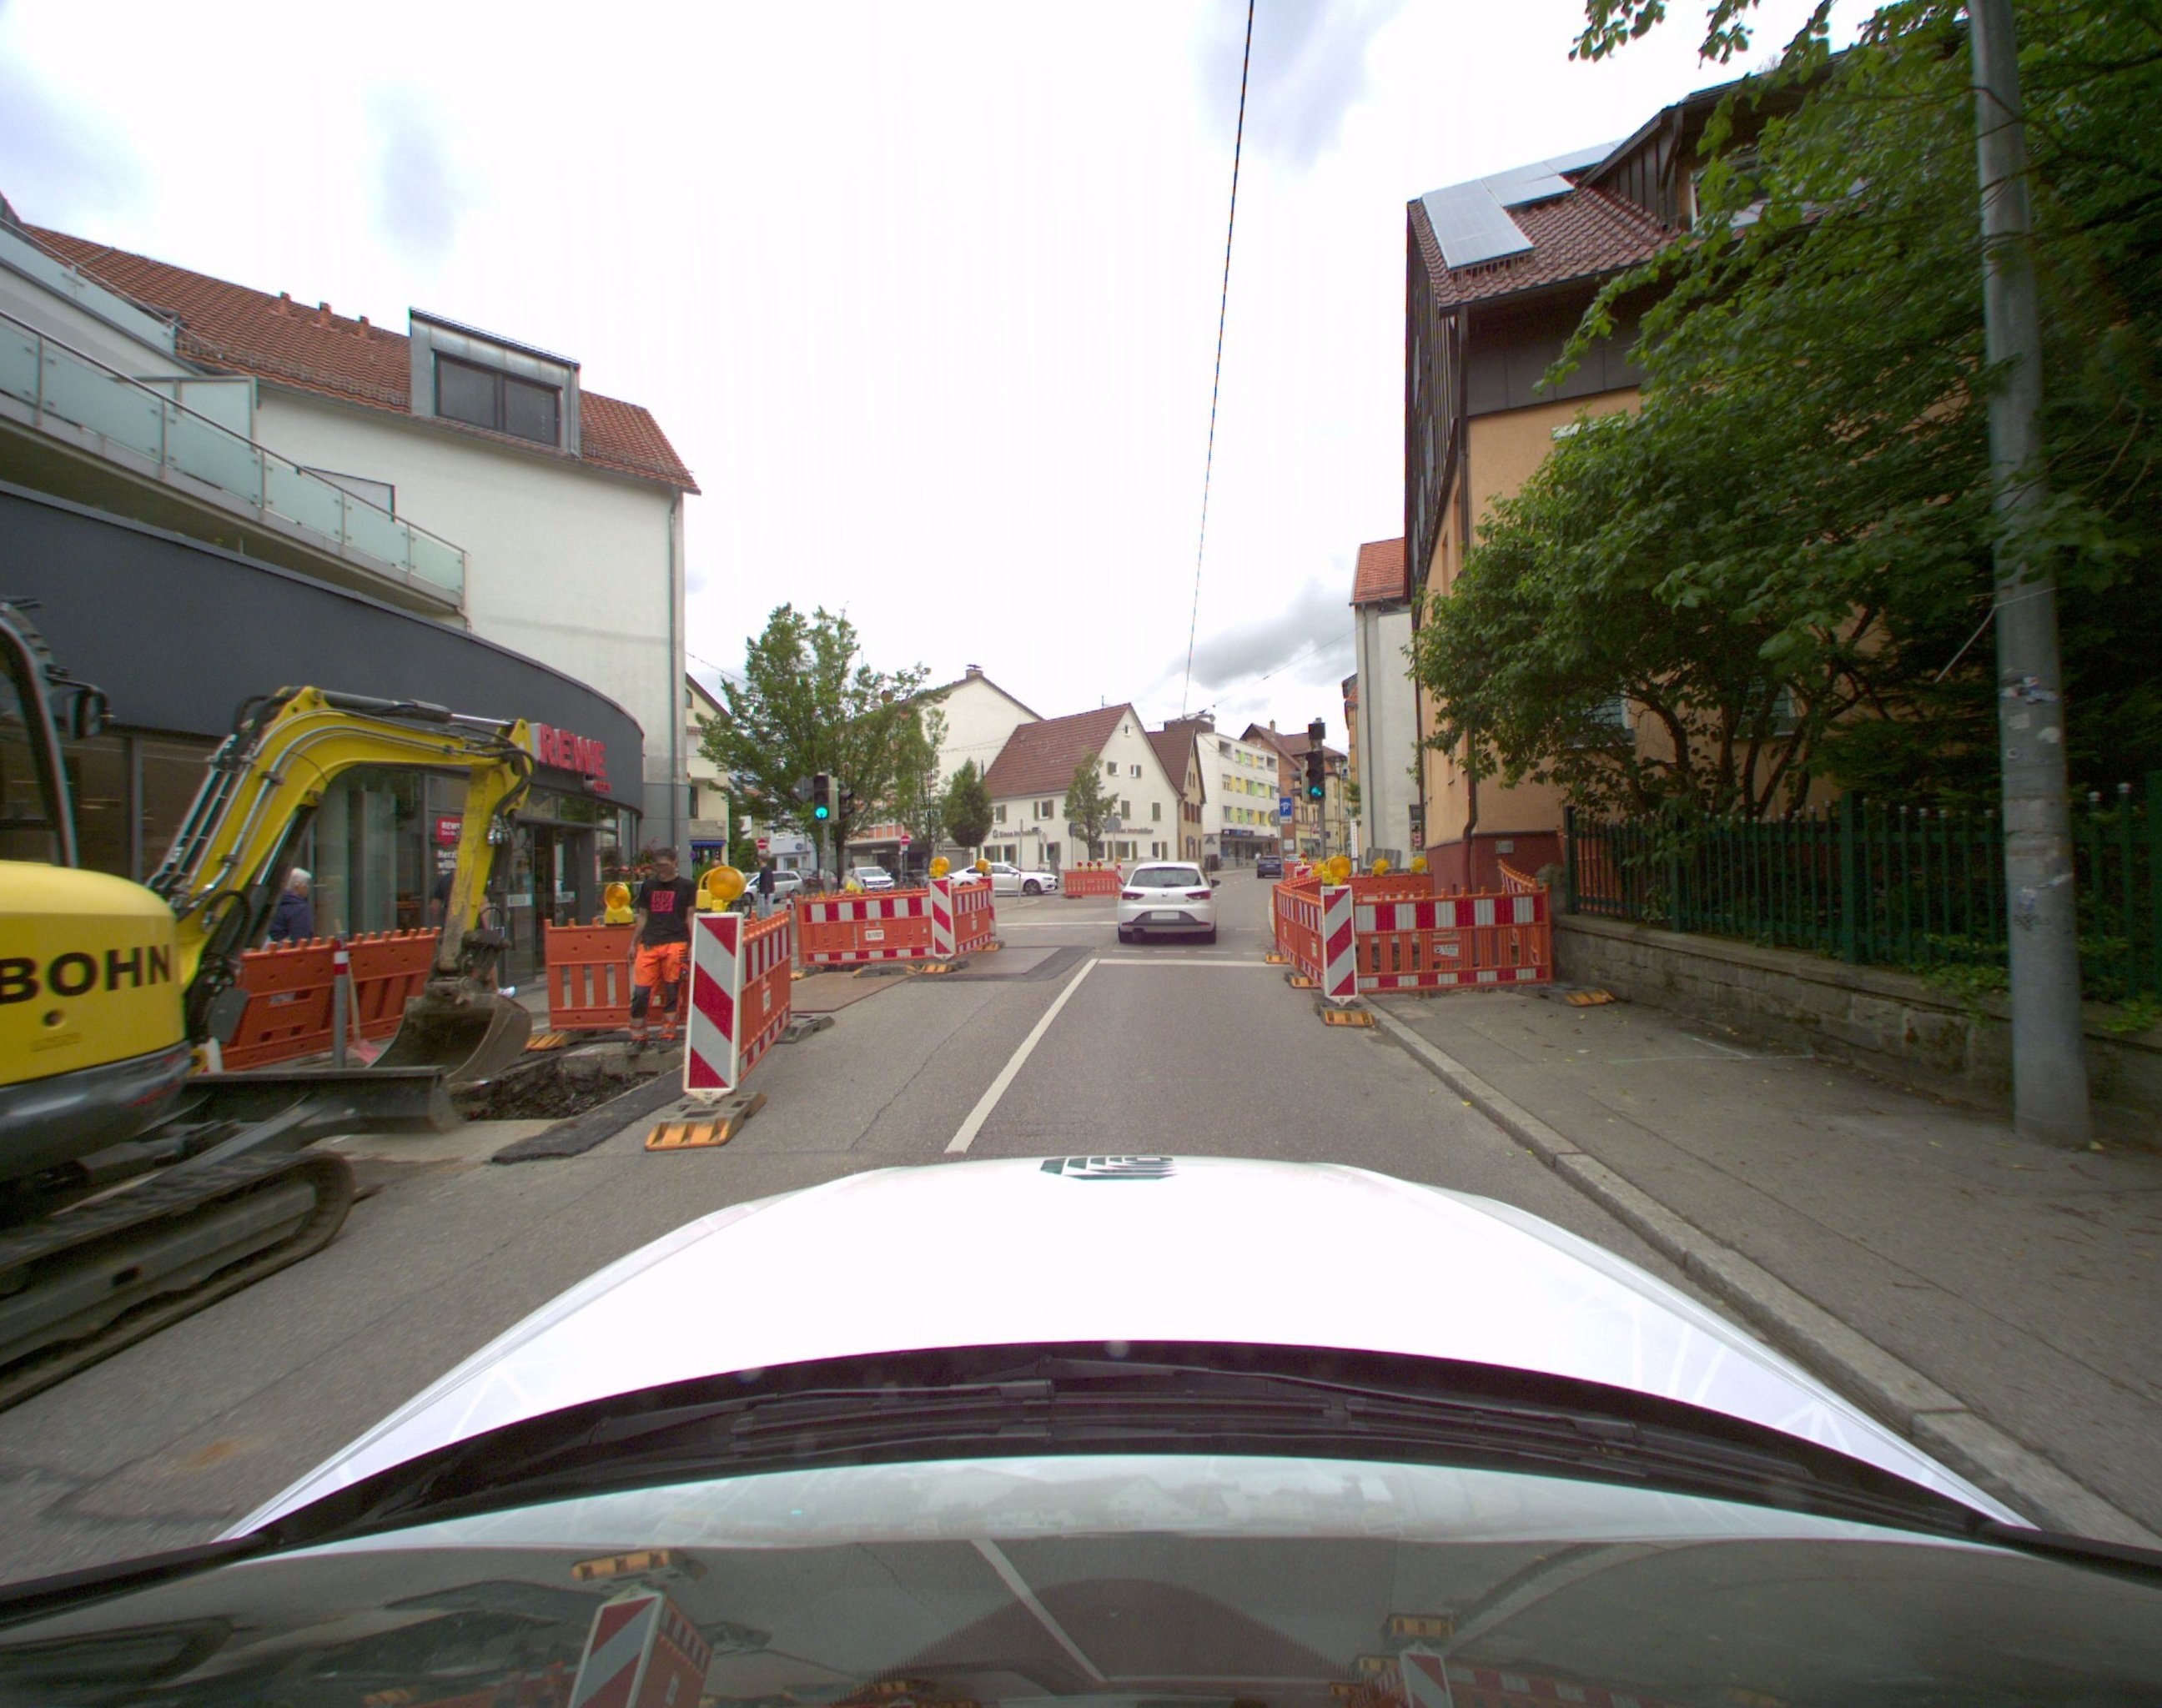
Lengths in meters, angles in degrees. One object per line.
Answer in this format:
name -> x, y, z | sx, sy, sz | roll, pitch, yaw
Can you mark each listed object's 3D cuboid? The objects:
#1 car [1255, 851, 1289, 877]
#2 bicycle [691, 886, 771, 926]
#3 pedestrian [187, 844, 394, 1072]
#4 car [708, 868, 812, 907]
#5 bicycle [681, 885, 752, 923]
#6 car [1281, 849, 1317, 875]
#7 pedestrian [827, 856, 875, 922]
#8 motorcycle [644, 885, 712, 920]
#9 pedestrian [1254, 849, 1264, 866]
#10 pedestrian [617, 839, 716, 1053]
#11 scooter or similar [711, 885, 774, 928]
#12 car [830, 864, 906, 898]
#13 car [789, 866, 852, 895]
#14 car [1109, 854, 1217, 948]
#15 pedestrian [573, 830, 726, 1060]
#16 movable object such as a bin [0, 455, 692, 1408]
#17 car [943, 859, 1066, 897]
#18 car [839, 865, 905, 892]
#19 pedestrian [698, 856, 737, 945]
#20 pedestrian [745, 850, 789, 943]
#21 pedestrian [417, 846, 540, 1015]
car -> 12.190, 0.623, 51.754 | 1.797, 1.480, 3.888 | -2, 1, 17
bicycle -> -11.027, 1.623, 25.715 | 2.164, 1.046, 0.742 | -5, 1, -42
pedestrian -> -6.349, 0.797, 6.583 | 0.827, 1.712, 0.817 | -2, 0, 8
car -> -15.673, 1.616, 39.959 | 1.974, 1.640, 4.355 | -3, -1, 33
bicycle -> -12.057, 1.628, 26.981 | 1.971, 1.074, 0.802 | -4, 0, -40
car -> 18.138, 0.663, 67.719 | 1.975, 2.013, 4.024 | -2, 0, 28
pedestrian -> -5.730, 0.870, 20.288 | 0.674, 1.592, 0.884 | -3, -1, 27
motorcycle -> -14.216, 1.689, 28.748 | 1.966, 1.104, 0.793 | -2, -1, -45
pedestrian -> 17.765, 0.352, 81.362 | 0.885, 1.665, 0.865 | -2, -1, 16
pedestrian -> -3.506, 0.757, 6.915 | 0.534, 1.744, 0.444 | -2, 0, 5
scooter or similar -> -9.865, 1.514, 23.760 | 1.541, 1.123, 0.590 | -2, 0, -41
car -> -10.691, 1.298, 40.633 | 2.030, 1.557, 4.865 | -1, 0, -35
car -> -15.248, 1.482, 47.478 | 2.031, 1.557, 4.863 | -1, 0, -37
car -> 1.685, 0.788, 15.636 | 1.801, 1.480, 3.881 | 0, 1, 9
pedestrian -> -3.609, 0.726, 6.869 | 0.810, 1.816, 0.744 | -2, 0, 5
movable object such as a bin -> -3.963, 0.263, 3.796 | 1.831, 2.763, 4.509 | -2, -1, 4
car -> -3.240, 1.021, 35.247 | 4.878, 1.477, 2.253 | -1, 0, 6
car -> -13.165, 1.521, 51.164 | 2.032, 1.557, 4.860 | -1, 0, -41
pedestrian -> -7.644, 0.953, 17.146 | 0.694, 1.791, 0.713 | -2, 0, -24
pedestrian -> -6.740, 0.888, 17.539 | 0.817, 1.925, 0.779 | -2, 0, -20
pedestrian -> -6.903, 0.847, 9.366 | 0.749, 1.844, 0.790 | -2, 0, 5
